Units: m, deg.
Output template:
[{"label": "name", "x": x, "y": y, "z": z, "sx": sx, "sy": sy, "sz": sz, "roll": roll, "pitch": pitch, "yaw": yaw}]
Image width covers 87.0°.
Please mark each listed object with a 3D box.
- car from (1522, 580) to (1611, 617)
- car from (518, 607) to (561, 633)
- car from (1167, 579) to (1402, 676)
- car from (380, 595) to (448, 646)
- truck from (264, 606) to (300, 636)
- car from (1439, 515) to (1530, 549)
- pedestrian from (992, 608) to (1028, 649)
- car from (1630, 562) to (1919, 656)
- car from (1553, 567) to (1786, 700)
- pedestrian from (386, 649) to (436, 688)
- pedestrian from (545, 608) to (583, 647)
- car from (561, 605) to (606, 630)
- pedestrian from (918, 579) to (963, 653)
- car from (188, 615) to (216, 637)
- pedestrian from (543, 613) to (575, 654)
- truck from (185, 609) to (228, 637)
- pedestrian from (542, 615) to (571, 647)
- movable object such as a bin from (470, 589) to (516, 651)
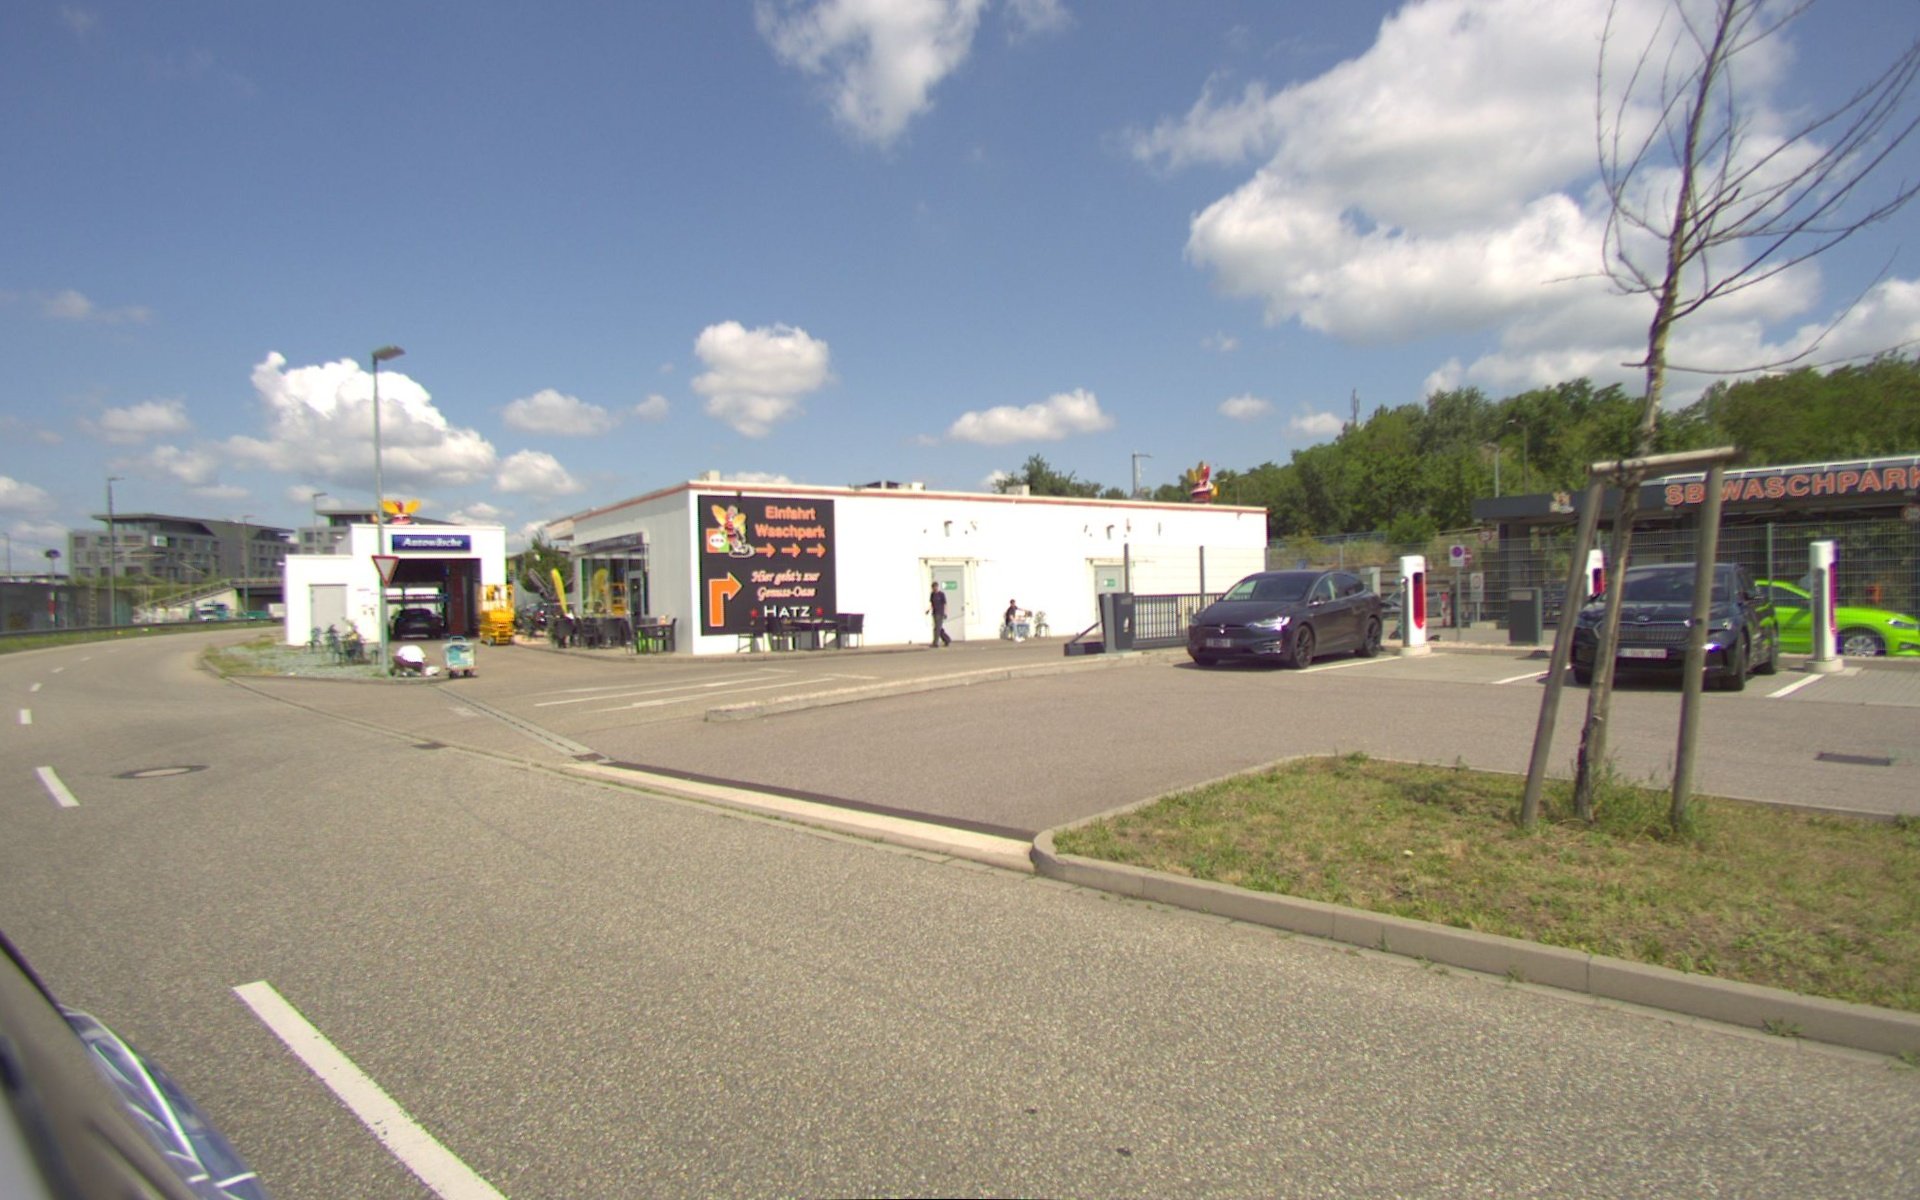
[{"label": "car", "x": 26.108, "y": -0.085, "z": 43.531, "sx": 3.934, "sy": 1.517, "sz": 1.894, "roll": -1, "pitch": 0, "yaw": -37}, {"label": "car", "x": -30.711, "y": 1.450, "z": 73.834, "sx": 1.967, "sy": 1.780, "sz": 4.610, "roll": -1, "pitch": 0, "yaw": -34}, {"label": "car", "x": 5.945, "y": 0.416, "z": 18.204, "sx": 2.237, "sy": 1.466, "sz": 4.694, "roll": -2, "pitch": 0, "yaw": 43}, {"label": "car", "x": -24.150, "y": 0.866, "z": 44.649, "sx": 1.967, "sy": 2.125, "sz": 5.022, "roll": -1, "pitch": 0, "yaw": -36}, {"label": "truck", "x": -81.086, "y": 2.483, "z": 121.029, "sx": 2.947, "sy": 3.445, "sz": 8.130, "roll": -1, "pitch": 0, "yaw": -38}, {"label": "car", "x": 30.451, "y": -3.903, "z": 58.825, "sx": 4.370, "sy": 1.663, "sz": 1.974, "roll": -1, "pitch": 0, "yaw": 39}, {"label": "pedestrian", "x": 1.519, "y": 0.862, "z": 30.849, "sx": 0.842, "sy": 1.174, "sz": 0.702, "roll": 1, "pitch": 1, "yaw": 38}, {"label": "car", "x": 14.862, "y": 0.136, "z": 18.226, "sx": 1.893, "sy": 1.493, "sz": 4.305, "roll": -2, "pitch": 1, "yaw": -42}, {"label": "car", "x": 9.787, "y": 0.354, "z": 13.844, "sx": 2.001, "sy": 1.530, "sz": 3.942, "roll": -1, "pitch": 1, "yaw": 44}, {"label": "pedestrian", "x": -12.256, "y": 1.515, "z": 22.571, "sx": 0.851, "sy": 0.765, "sz": 0.820, "roll": -2, "pitch": 0, "yaw": -37}, {"label": "pedestrian", "x": -14.165, "y": 0.982, "z": 36.214, "sx": 0.864, "sy": 1.317, "sz": 0.929, "roll": -2, "pitch": 0, "yaw": 38}, {"label": "car", "x": -28.226, "y": 1.305, "z": 75.732, "sx": 1.967, "sy": 1.791, "sz": 4.608, "roll": -1, "pitch": 0, "yaw": -36}, {"label": "pedestrian", "x": -0.550, "y": 0.424, "z": 28.290, "sx": 0.864, "sy": 2.029, "sz": 0.929, "roll": 1, "pitch": 1, "yaw": 38}, {"label": "car", "x": -97.215, "y": 3.310, "z": 129.824, "sx": 2.036, "sy": 2.545, "sz": 5.886, "roll": -3, "pitch": 1, "yaw": -44}, {"label": "pedestrian", "x": -12.743, "y": 1.056, "z": 32.166, "sx": 0.743, "sy": 1.266, "sz": 0.901, "roll": -2, "pitch": 0, "yaw": -34}, {"label": "truck", "x": -103.611, "y": 3.120, "z": 139.166, "sx": 6.874, "sy": 3.672, "sz": 2.624, "roll": -1, "pitch": 2, "yaw": 36}, {"label": "pedestrian", "x": -14.736, "y": 1.133, "z": 37.000, "sx": 0.808, "sy": 1.119, "sz": 0.757, "roll": -1, "pitch": 0, "yaw": -36}, {"label": "movable object such as a bin", "x": -17.102, "y": 0.675, "z": 37.025, "sx": 1.048, "sy": 2.168, "sz": 2.711, "roll": -1, "pitch": 1, "yaw": -35}]
